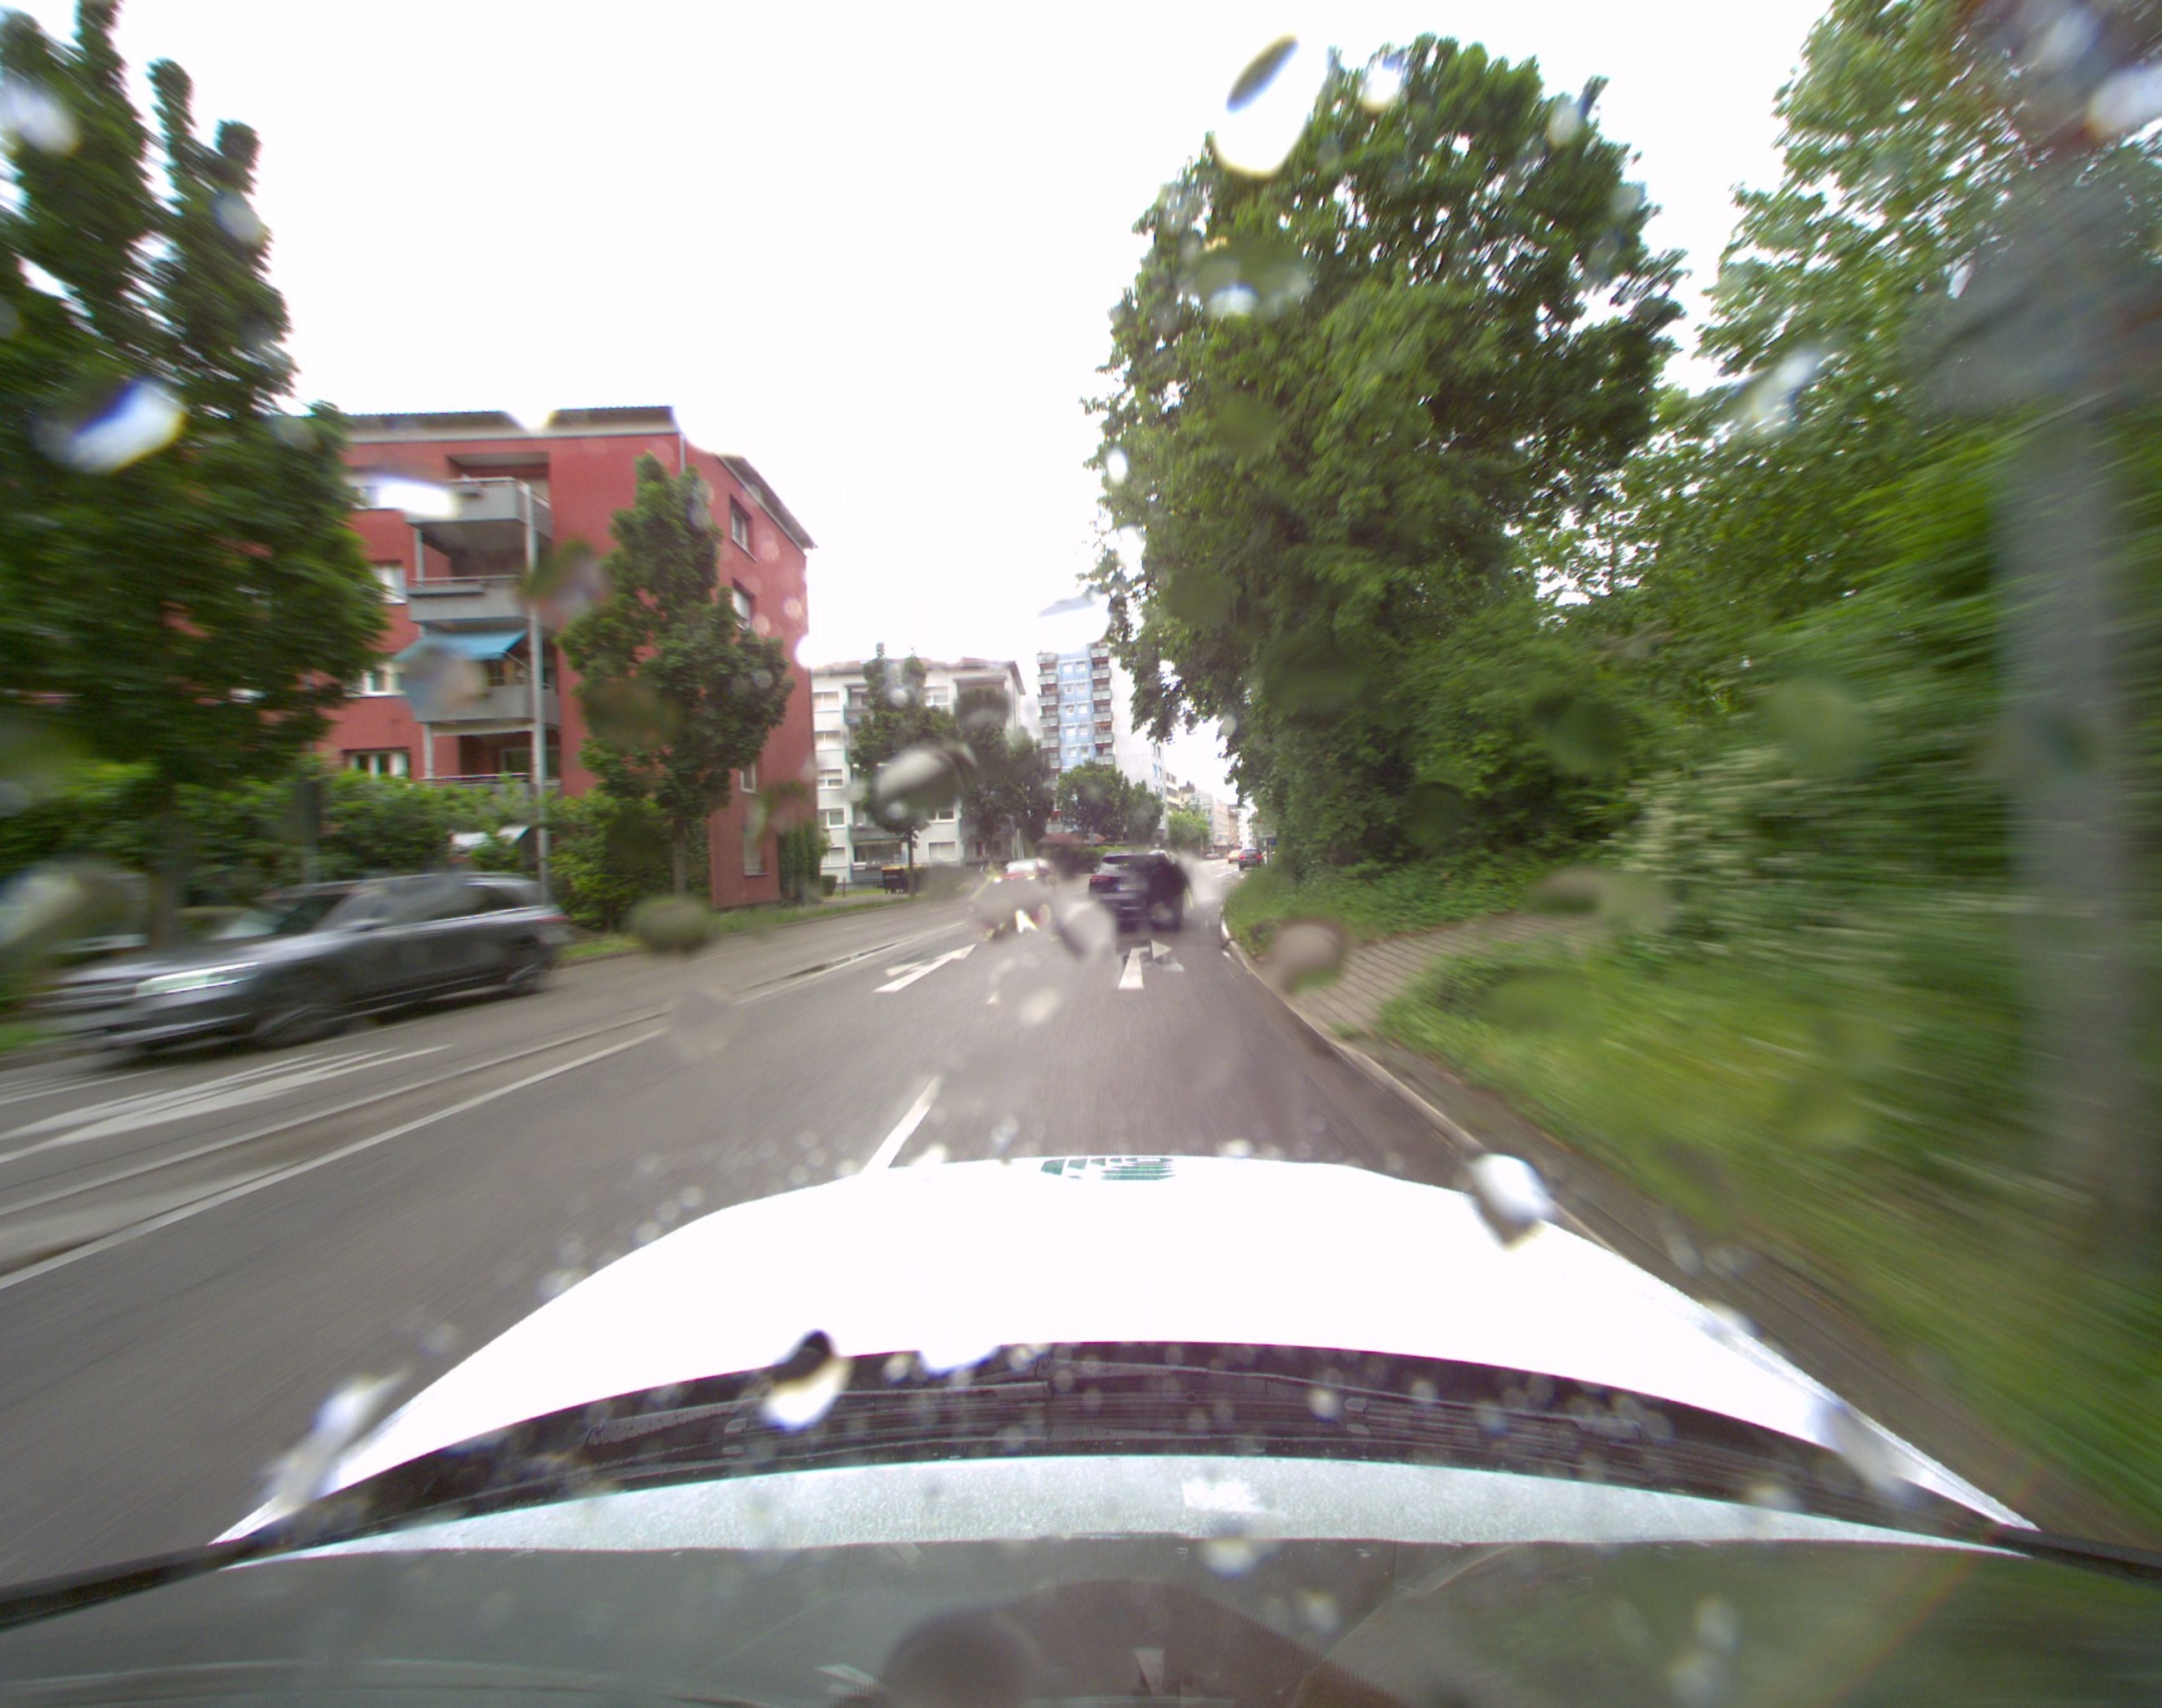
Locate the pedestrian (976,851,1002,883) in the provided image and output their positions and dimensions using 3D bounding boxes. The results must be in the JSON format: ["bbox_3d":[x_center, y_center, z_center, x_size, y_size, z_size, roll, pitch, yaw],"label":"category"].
[{"bbox_3d":[-5.512,0.788,48.844,1.127,1.804,1.267,-3,0,11],"label":"pedestrian"}]

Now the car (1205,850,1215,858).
[{"bbox_3d":[27.619,0.058,173.879,1.661,1.478,3.621,-4,-1,13],"label":"car"}]

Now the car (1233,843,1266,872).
[{"bbox_3d":[12.653,0.249,60.986,1.978,2.013,4.018,-3,0,17],"label":"car"}]

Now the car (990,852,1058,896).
[{"bbox_3d":[-2.156,0.730,31.963,1.665,1.562,4.154,-1,1,10],"label":"car"}]

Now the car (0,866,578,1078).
[{"bbox_3d":[-8.439,1.087,9.397,1.911,1.631,4.512,-5,0,8],"label":"car"}]

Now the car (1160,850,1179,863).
[{"bbox_3d":[10.793,0.261,98.980,1.861,1.390,4.642,-5,0,11],"label":"car"}]

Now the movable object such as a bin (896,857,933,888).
[{"bbox_3d":[-8.851,0.977,43.460,1.208,1.484,2.093,-3,0,9],"label":"movable object such as a bin"}]

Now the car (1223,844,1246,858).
[{"bbox_3d":[16.992,-0.350,89.944,2.050,1.464,4.606,-3,0,16],"label":"car"}]

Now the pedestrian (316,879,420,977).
[{"bbox_3d":[-11.968,1.214,13.707,0.689,1.517,1.071,-3,0,6],"label":"pedestrian"}]

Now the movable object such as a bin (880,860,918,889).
[{"bbox_3d":[-9.202,1.029,41.304,1.150,1.331,1.971,-3,0,9],"label":"movable object such as a bin"}]

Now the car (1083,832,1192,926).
[{"bbox_3d":[1.136,0.472,17.302,1.952,1.652,4.002,-3,0,2],"label":"car"}]
